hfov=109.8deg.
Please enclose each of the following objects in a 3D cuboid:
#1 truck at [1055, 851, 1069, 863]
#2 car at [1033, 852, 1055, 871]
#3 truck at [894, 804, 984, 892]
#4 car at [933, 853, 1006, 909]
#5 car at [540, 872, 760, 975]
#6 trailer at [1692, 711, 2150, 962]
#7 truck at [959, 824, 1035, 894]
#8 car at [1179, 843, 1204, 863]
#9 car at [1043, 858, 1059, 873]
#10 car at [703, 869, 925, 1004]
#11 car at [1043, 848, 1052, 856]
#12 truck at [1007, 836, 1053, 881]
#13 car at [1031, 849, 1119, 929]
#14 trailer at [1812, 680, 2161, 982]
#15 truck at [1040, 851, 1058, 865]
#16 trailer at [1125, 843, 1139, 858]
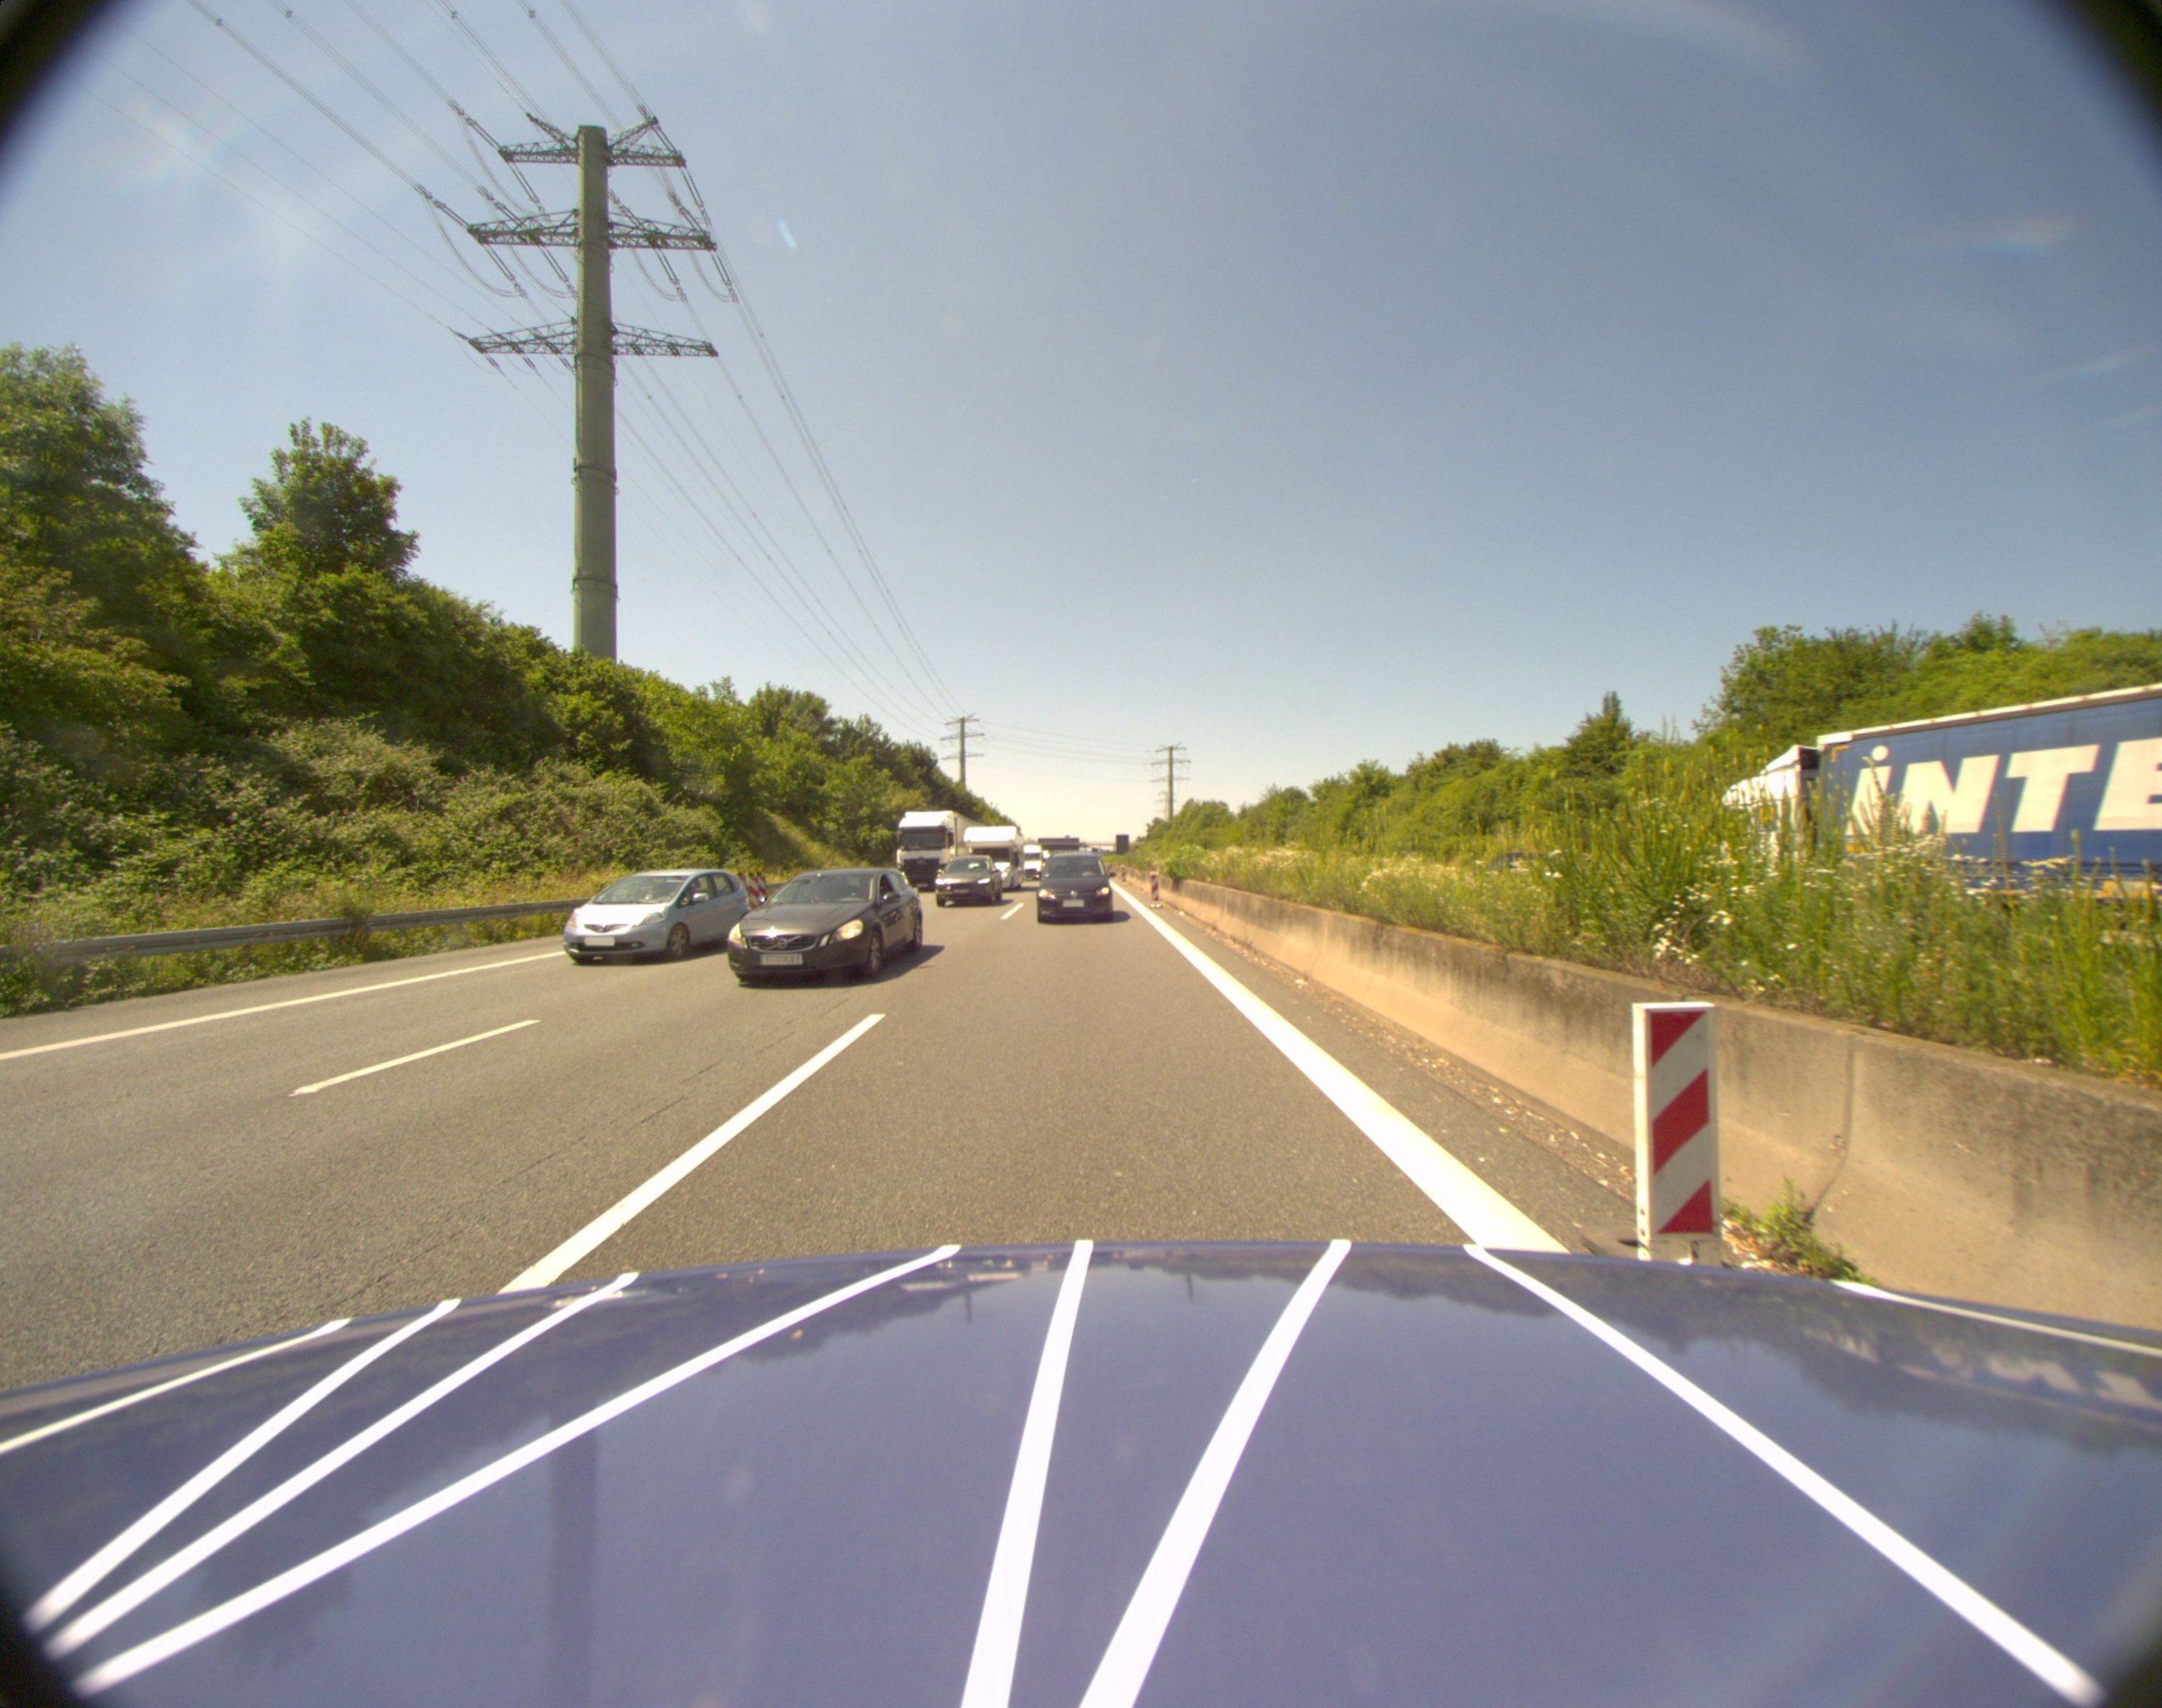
[{"bbox_3d":[-3.662,0.512,147.757,2.409,2.203,6.744,-2,0,1],"label":"truck"},{"bbox_3d":[-3.396,0.664,69.897,1.892,1.692,4.382,-2,0,-1],"label":"car"},{"bbox_3d":[-7.534,-0.300,42.275,2.655,4.127,11.660,-2,0,0],"label":"truck"},{"bbox_3d":[-3.740,0.849,26.179,1.892,1.692,4.382,-2,0,-1],"label":"car"},{"bbox_3d":[-7.413,1.111,13.549,1.801,1.429,3.730,-2,0,-2],"label":"car"},{"bbox_3d":[15.924,-0.294,15.145,2.968,4.033,5.433,2,0,0],"label":"trailer"},{"bbox_3d":[-4.028,0.207,38.831,2.514,2.997,9.897,-2,0,1],"label":"truck"},{"bbox_3d":[12.198,-0.107,84.055,1.998,2.079,5.228,0,0,1],"label":"car"},{"bbox_3d":[-3.644,1.407,92.394,1.892,1.692,4.382,-2,0,-1],"label":"car"},{"bbox_3d":[-3.591,1.019,11.115,1.801,1.429,4.230,-2,0,-1],"label":"car"},{"bbox_3d":[-8.232,-0.446,185.179,1.998,2.002,4.000,-2,0,0],"label":"car"},{"bbox_3d":[-3.633,0.287,56.318,2.514,2.997,9.897,-2,0,1],"label":"truck"},{"bbox_3d":[-0.184,0.770,18.983,1.892,1.692,4.382,-2,0,-1],"label":"car"},{"bbox_3d":[15.892,-0.269,8.111,2.968,4.033,13.594,2,0,0],"label":"trailer"},{"bbox_3d":[-5.280,0.666,126.608,2.409,2.203,6.744,-2,0,1],"label":"truck"},{"bbox_3d":[14.653,-1.007,219.228,3.024,4.142,14.019,2,0,0],"label":"trailer"}]
